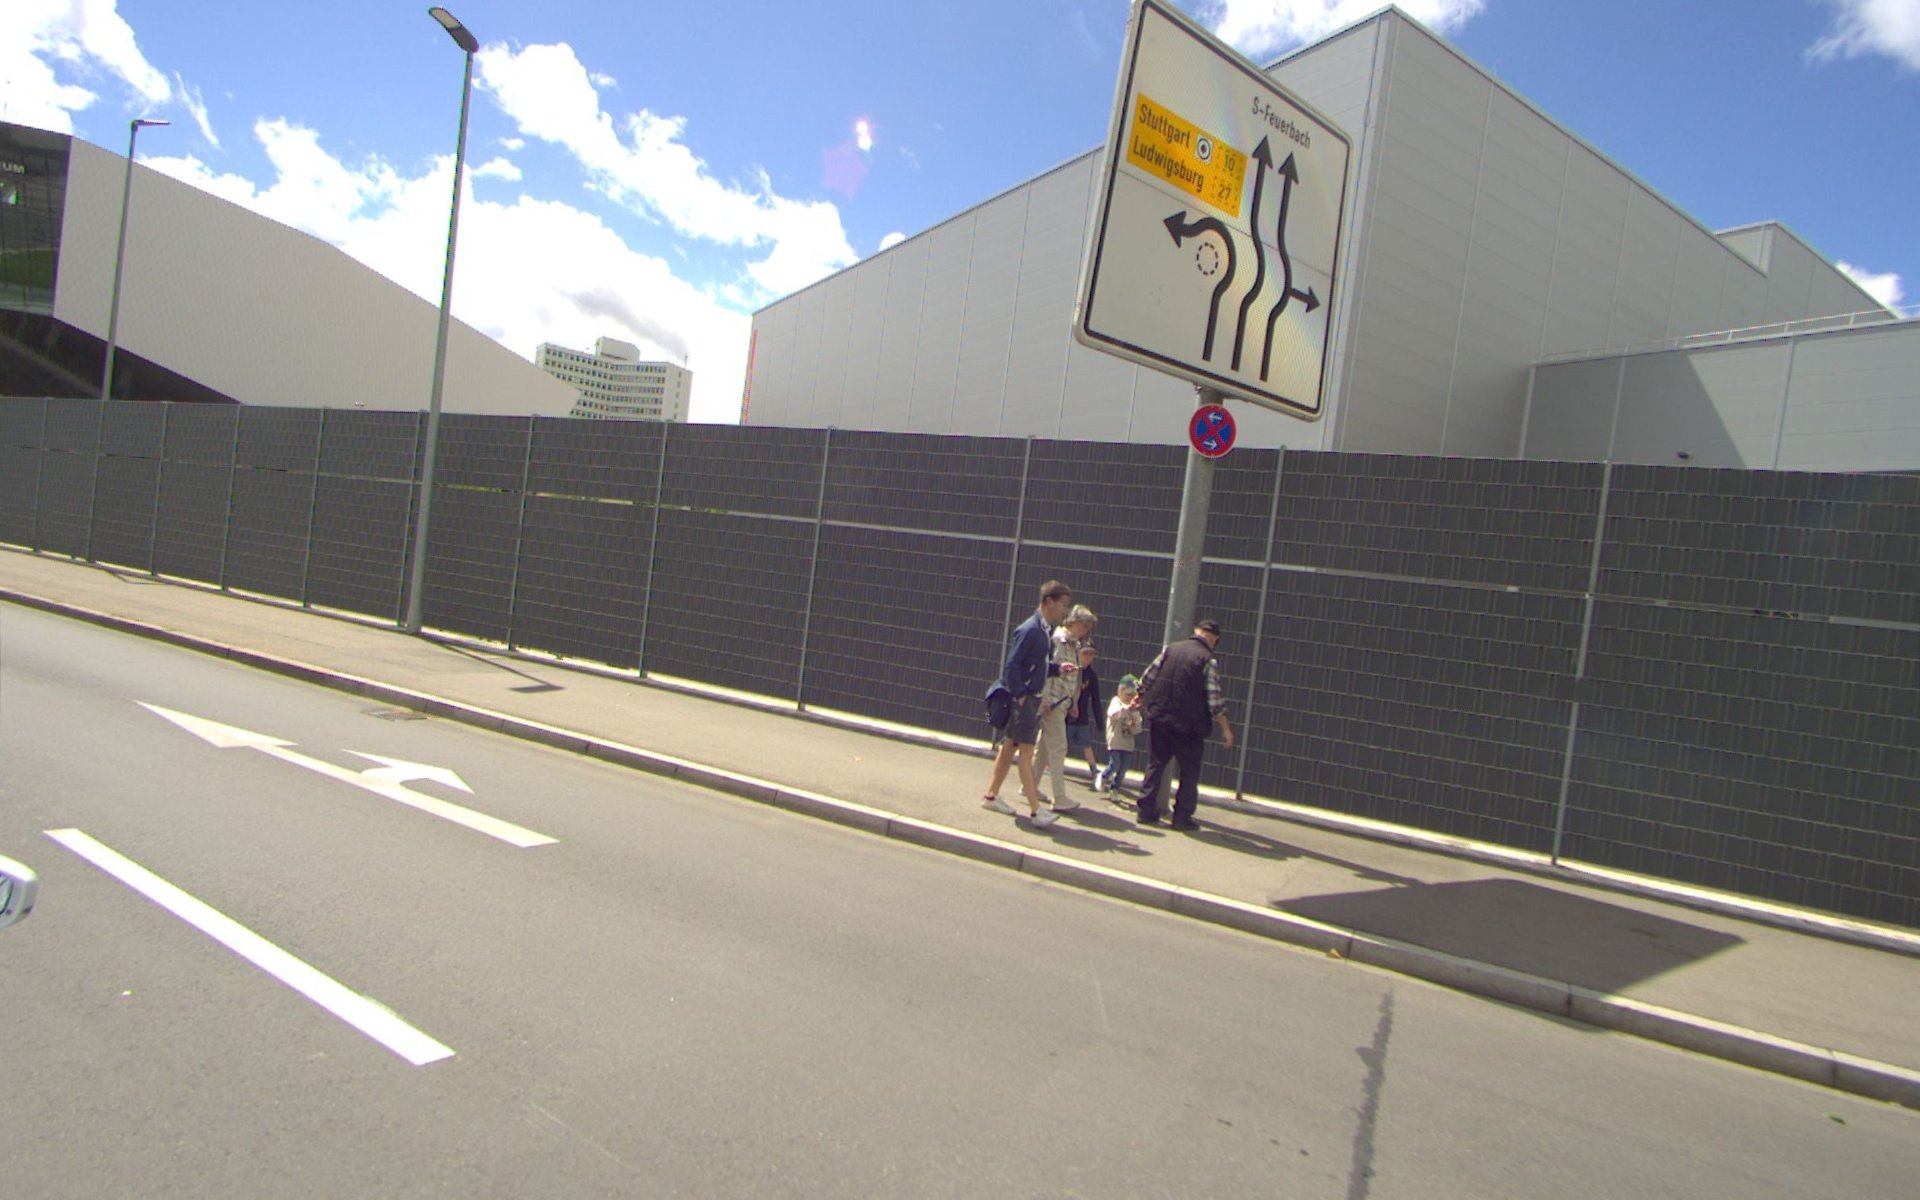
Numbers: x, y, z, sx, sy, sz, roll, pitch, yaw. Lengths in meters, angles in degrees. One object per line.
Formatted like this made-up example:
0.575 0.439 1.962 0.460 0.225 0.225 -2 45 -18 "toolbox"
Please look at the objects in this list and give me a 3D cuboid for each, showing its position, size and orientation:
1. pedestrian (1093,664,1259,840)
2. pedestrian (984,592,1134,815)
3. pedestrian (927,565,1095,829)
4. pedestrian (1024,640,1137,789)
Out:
1.704 1.157 7.897 0.955 1.162 0.759 7 0 31 "pedestrian"
0.801 0.810 8.044 0.720 1.616 0.795 7 0 35 "pedestrian"
0.384 0.687 7.324 0.720 1.741 0.795 7 0 34 "pedestrian"
1.103 1.026 9.171 0.704 1.221 0.598 7 0 31 "pedestrian"
